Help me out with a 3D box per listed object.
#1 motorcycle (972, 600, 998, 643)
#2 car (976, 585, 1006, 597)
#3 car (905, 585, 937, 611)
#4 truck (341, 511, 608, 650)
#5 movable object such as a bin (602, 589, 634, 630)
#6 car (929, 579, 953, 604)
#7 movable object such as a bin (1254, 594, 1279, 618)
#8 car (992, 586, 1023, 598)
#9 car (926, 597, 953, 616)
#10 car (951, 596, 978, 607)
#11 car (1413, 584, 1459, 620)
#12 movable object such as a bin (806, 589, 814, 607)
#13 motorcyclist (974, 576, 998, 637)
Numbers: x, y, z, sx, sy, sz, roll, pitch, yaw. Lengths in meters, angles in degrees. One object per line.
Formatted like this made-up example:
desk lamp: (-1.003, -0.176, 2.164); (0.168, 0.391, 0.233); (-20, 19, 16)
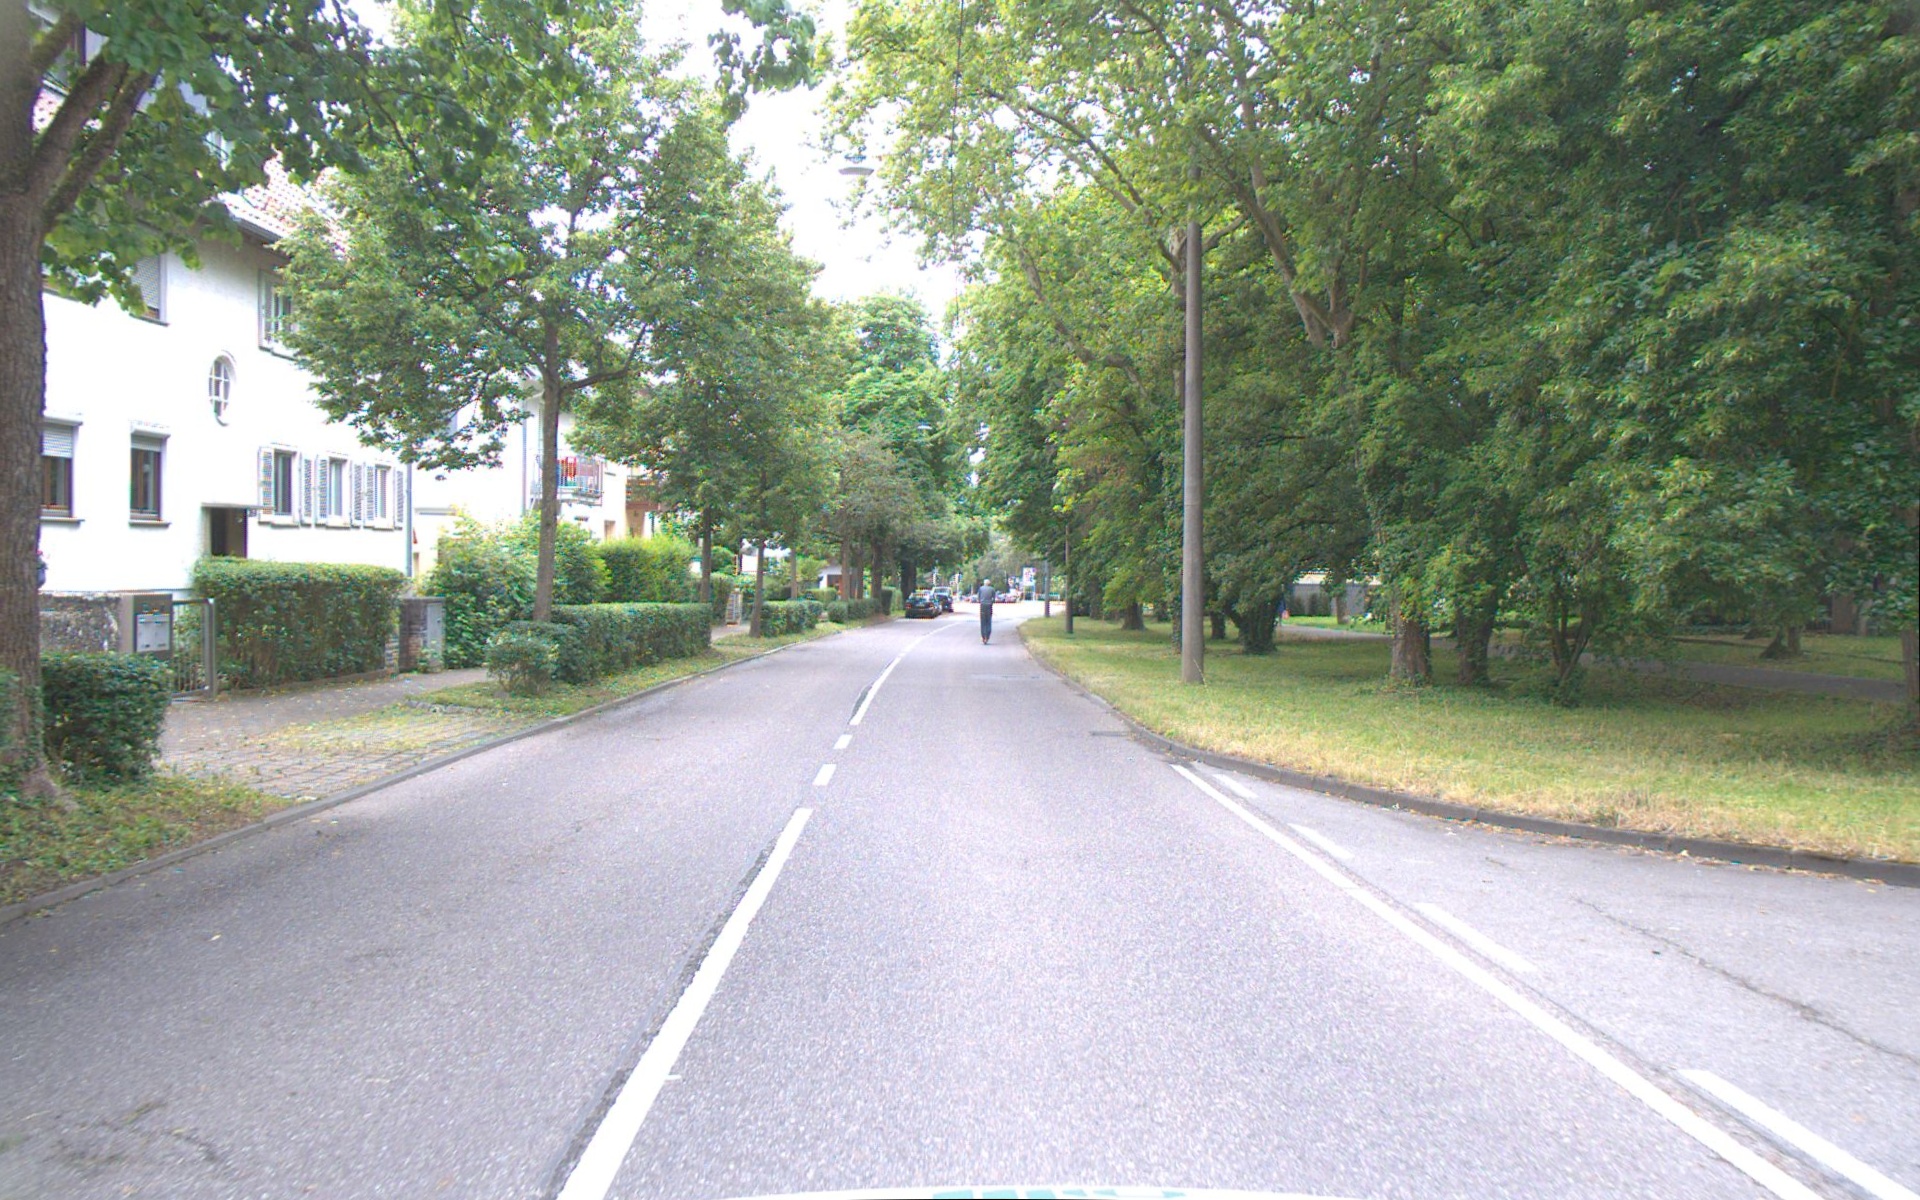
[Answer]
motorcycle: (0.746, 0.634, 49.064); (0.659, 1.239, 1.274); (2, 0, 3)
car: (4.149, -1.173, 222.423); (3.905, 1.537, 1.800); (0, 0, -1)
car: (-2.279, -0.099, 97.646); (1.757, 1.498, 4.418); (0, 0, 0)
truck: (-11.693, -0.467, 40.190); (5.678, 3.185, 2.517); (1, 0, -1)
movable object such as a bin: (-8.003, 0.225, 38.748); (0.568, 0.942, 0.693); (-1, 0, 2)
car: (-1.644, -0.702, 139.814); (1.820, 1.998, 4.501); (0, -1, -3)
movable object such as a bin: (19.553, 0.362, 105.485); (1.299, 1.527, 1.314); (-1, 0, 0)
car: (5.997, -1.001, 209.729); (3.905, 1.537, 1.800); (0, 0, -1)
car: (-1.571, 0.507, 128.934); (1.852, 1.435, 4.555); (0, 0, 3)
car: (0.659, 0.240, 237.326); (3.905, 1.537, 1.800); (0, 0, -1)
car: (26.955, 0.076, 93.820); (2.041, 1.875, 4.972); (-1, 1, 10)
movable object such as a bin: (-8.089, -0.111, 89.109); (0.447, 0.931, 0.508); (0, 0, -4)
motorcyclist: (0.776, 0.182, 49.326); (0.659, 1.792, 0.639); (2, 0, 3)
